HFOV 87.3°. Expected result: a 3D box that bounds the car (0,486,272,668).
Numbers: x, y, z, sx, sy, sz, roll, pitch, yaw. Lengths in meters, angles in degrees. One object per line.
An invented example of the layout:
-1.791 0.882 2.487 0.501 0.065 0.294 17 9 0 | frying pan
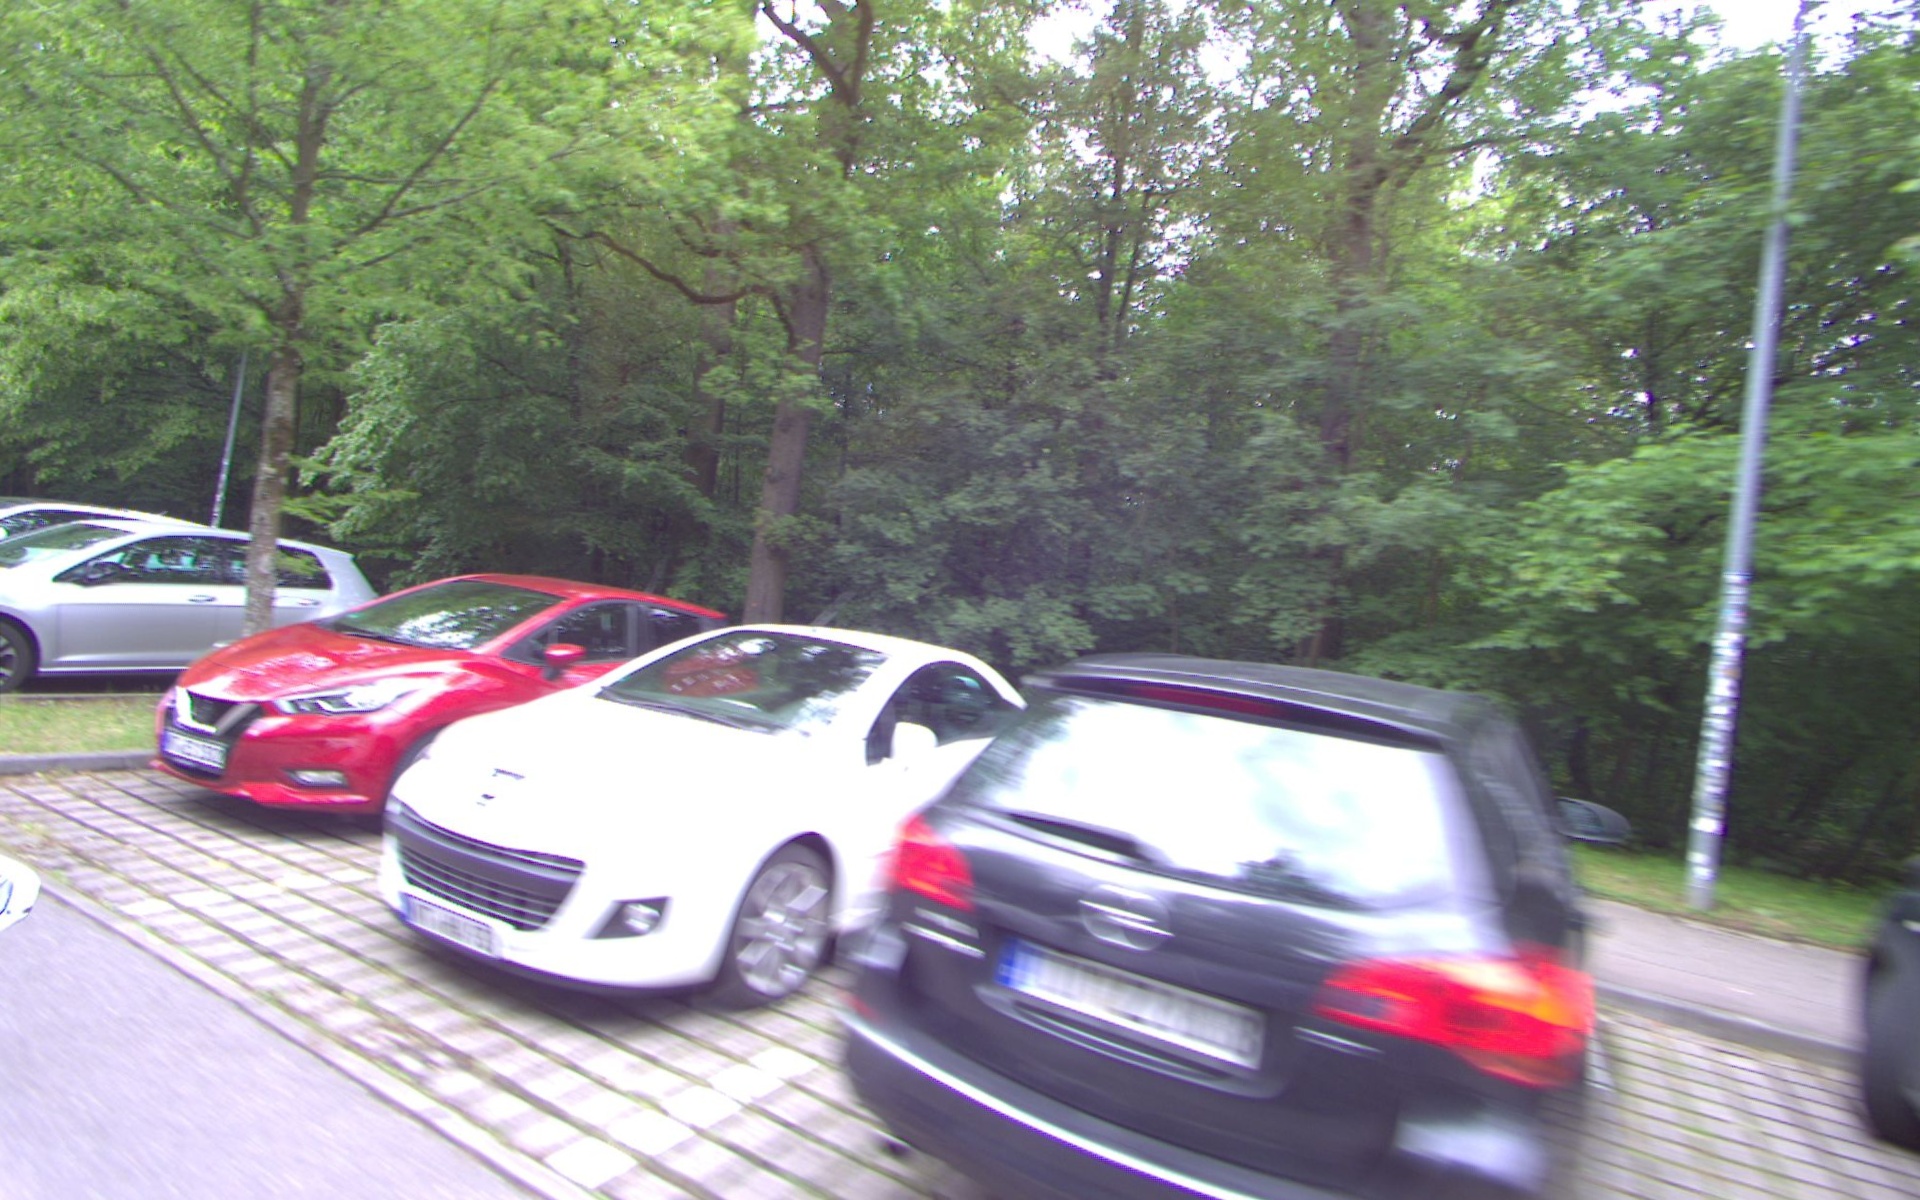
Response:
-9.517 -0.333 9.853 1.943 1.577 4.019 8 -1 29 | car

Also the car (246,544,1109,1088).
-0.888 0.784 5.095 1.846 1.427 3.942 8 -1 29 | car

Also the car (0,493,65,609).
-13.913 -0.841 12.400 1.777 1.474 3.837 7 -1 26 | car

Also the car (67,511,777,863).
-3.099 0.515 6.753 1.836 1.458 3.809 8 -1 21 | car

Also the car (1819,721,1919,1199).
3.732 1.252 2.307 1.917 1.608 3.775 8 -1 31 | car

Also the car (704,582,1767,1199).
1.125 0.975 3.520 1.743 1.498 3.779 8 -1 27 | car

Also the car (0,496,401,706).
-7.351 -0.001 8.659 1.850 1.501 3.989 8 -1 25 | car

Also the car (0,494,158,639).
-11.737 -0.560 10.958 1.859 1.529 4.201 8 -1 24 | car
